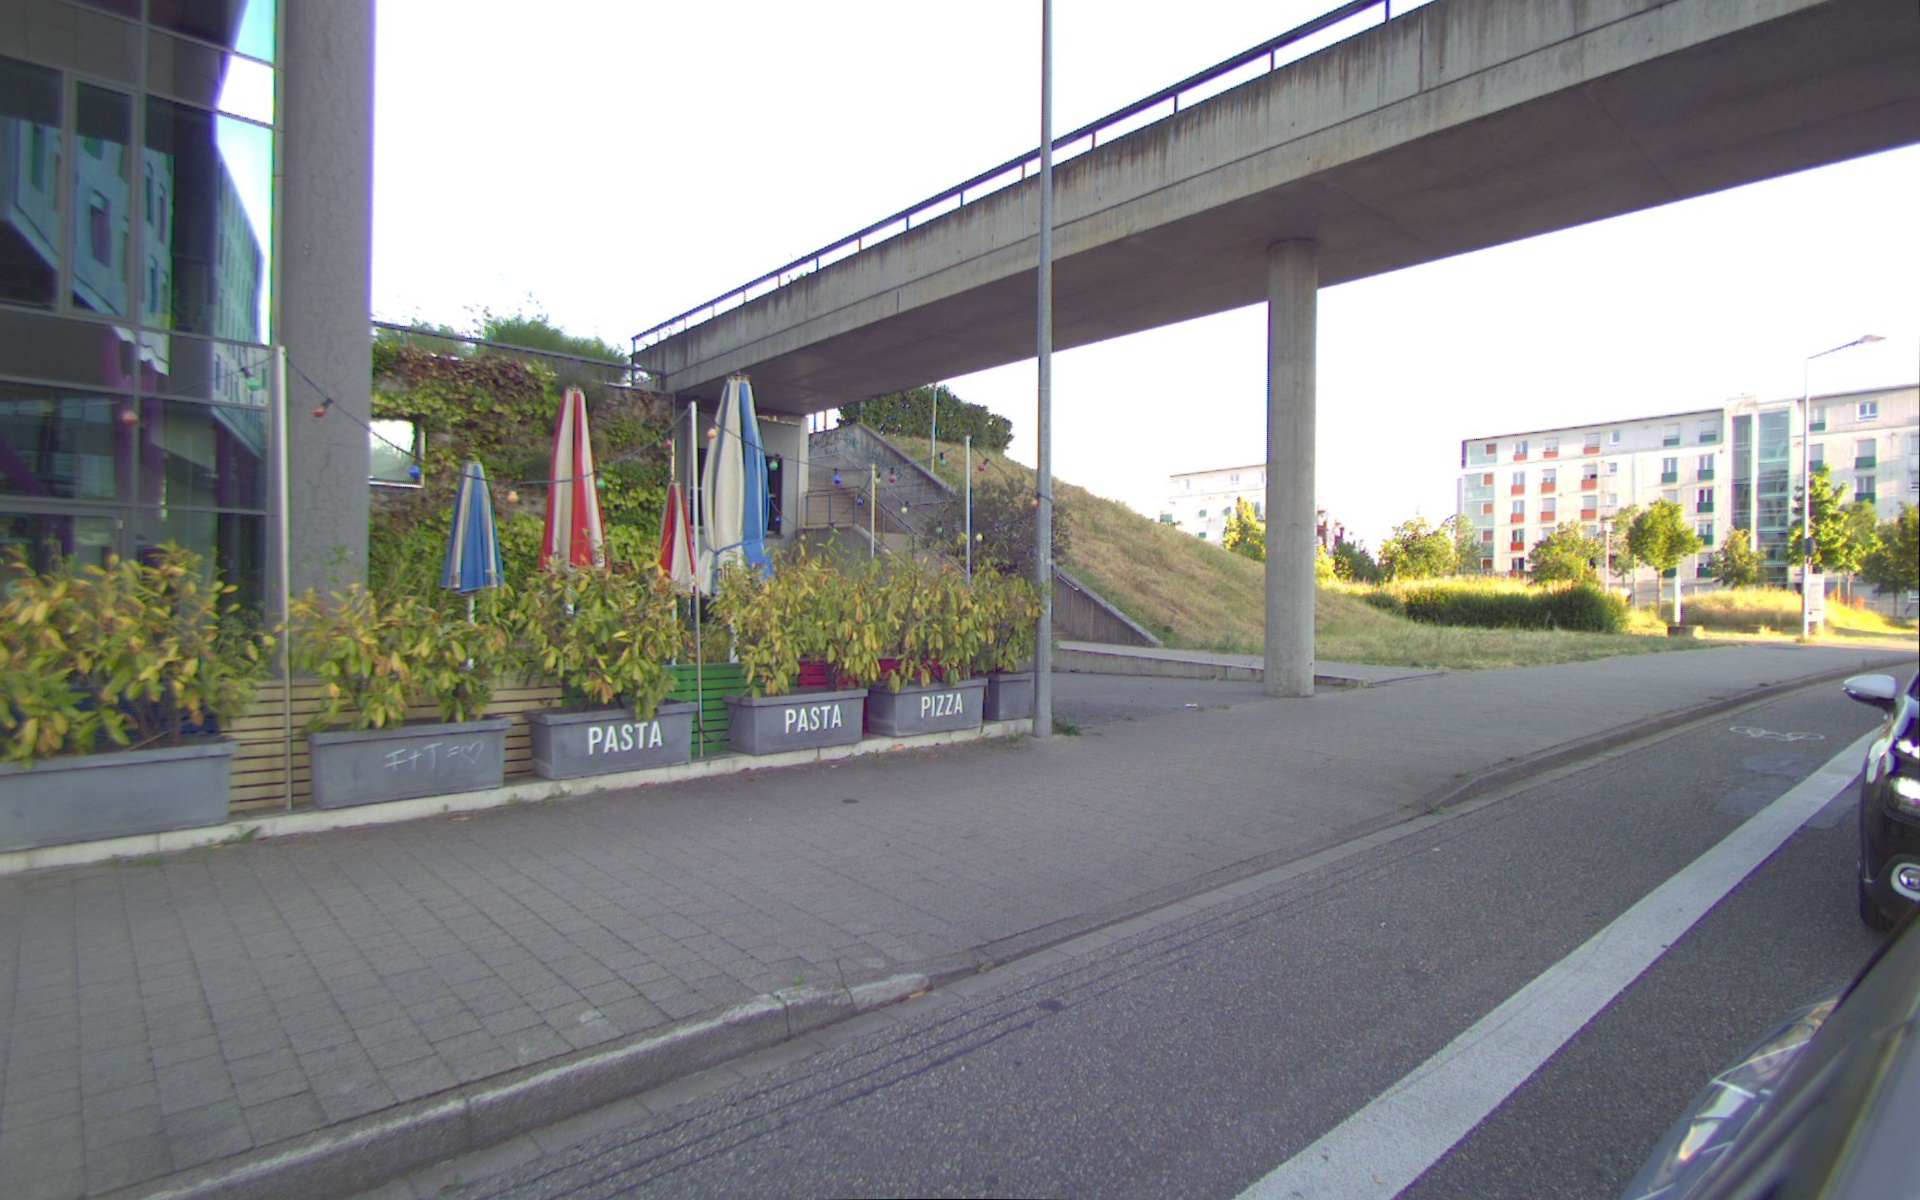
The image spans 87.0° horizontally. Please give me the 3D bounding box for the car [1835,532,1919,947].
[{"bbox_3d":[5.517,0.539,4.738,4.003,1.572,1.757,0,0,-43],"label":"car"}]
